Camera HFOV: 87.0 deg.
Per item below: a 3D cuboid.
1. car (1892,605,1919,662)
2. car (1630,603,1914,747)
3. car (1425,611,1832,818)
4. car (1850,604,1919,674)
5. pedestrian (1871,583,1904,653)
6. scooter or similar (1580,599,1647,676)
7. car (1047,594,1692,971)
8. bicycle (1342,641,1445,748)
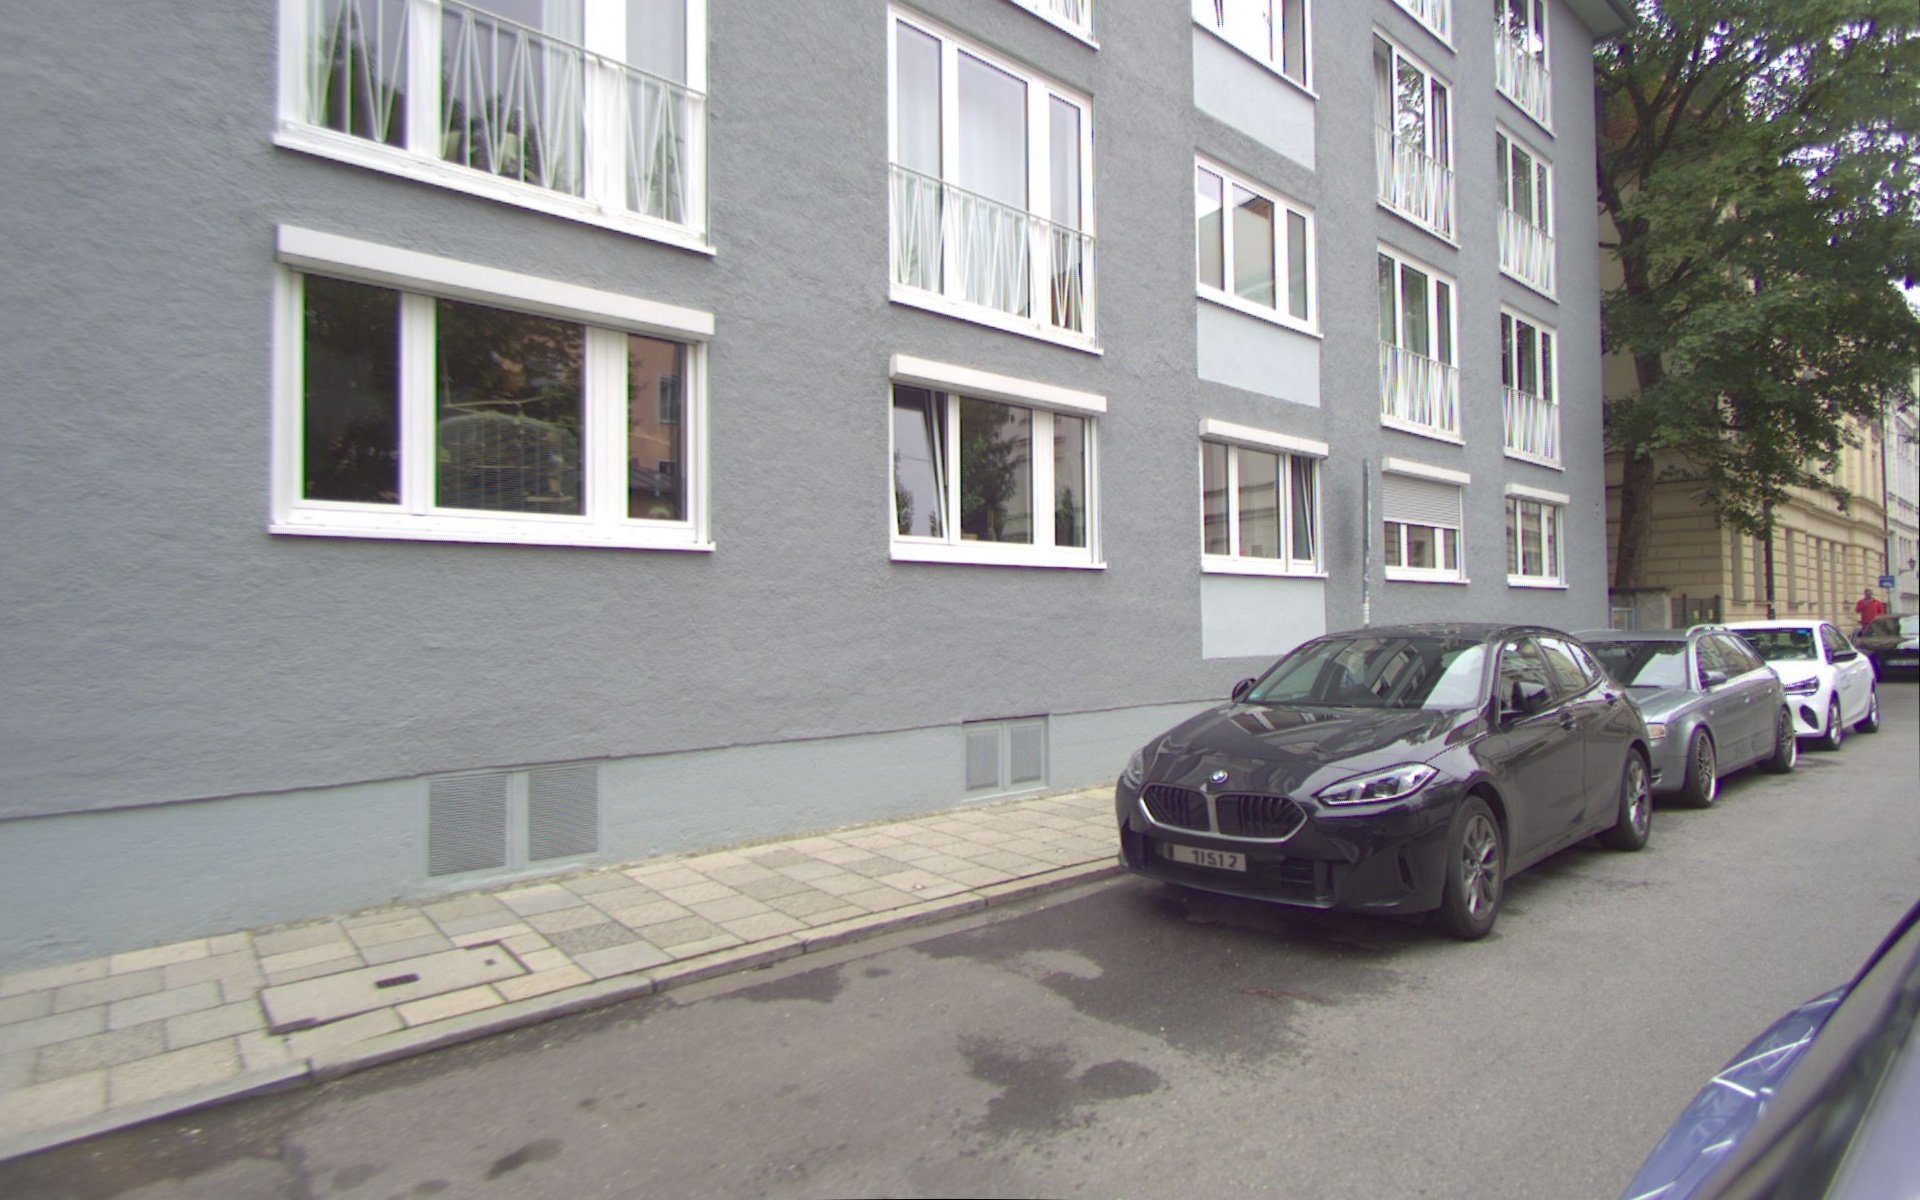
[{"bbox_3d":[24.906,0.792,25.138,4.511,1.330,1.997,0,-1,-40],"label":"car"},{"bbox_3d":[10.082,0.854,12.456,4.266,1.465,1.771,0,-5,-39],"label":"car"},{"bbox_3d":[6.258,0.904,9.278,4.405,1.420,1.792,0,-5,-39],"label":"car"},{"bbox_3d":[20.911,0.783,21.926,4.433,1.392,1.856,0,-4,-42],"label":"car"},{"bbox_3d":[26.818,0.523,29.259,0.447,2.003,0.580,0,-3,-40],"label":"pedestrian"},{"bbox_3d":[10.636,0.584,16.452,1.351,1.189,0.506,-1,-1,-39],"label":"scooter or similar"},{"bbox_3d":[2.655,0.789,6.032,4.191,1.447,1.842,0,-6,-42],"label":"car"},{"bbox_3d":[5.078,1.064,11.817,1.656,1.124,0.378,0,-2,-40],"label":"bicycle"}]
